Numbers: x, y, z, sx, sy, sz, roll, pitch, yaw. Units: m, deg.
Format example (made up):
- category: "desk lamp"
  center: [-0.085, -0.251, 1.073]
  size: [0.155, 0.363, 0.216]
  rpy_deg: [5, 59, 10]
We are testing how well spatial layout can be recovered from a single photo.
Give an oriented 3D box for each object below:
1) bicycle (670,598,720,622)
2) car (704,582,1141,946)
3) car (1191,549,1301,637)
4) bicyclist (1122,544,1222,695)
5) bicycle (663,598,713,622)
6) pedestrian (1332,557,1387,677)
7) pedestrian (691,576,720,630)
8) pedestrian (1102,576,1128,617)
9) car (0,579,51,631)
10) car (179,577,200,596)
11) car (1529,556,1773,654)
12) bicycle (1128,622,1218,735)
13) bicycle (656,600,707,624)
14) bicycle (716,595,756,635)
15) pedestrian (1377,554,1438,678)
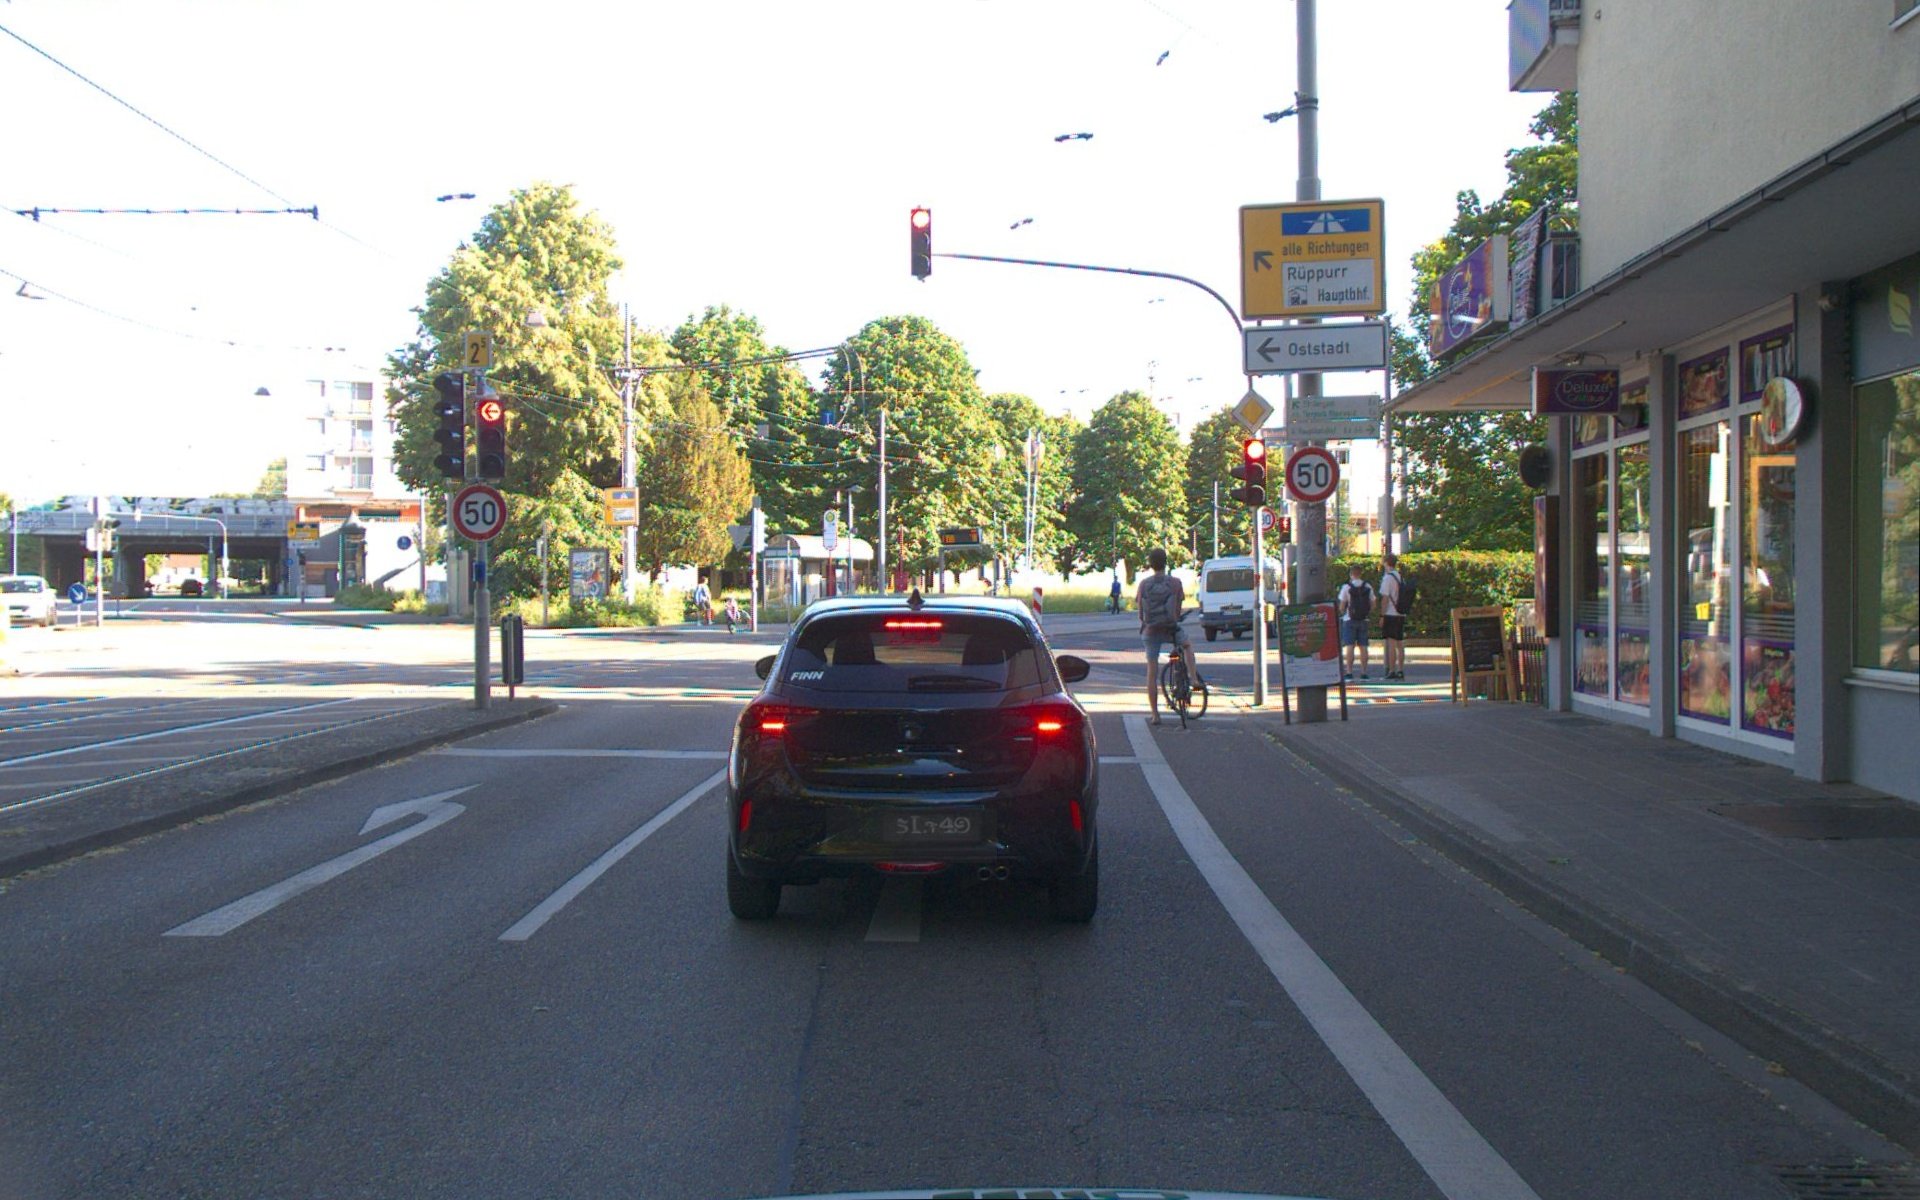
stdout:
- category: "bicycle"
  center: [-10.498, 0.408, 65.516]
  size: [1.837, 0.922, 0.660]
  rpy_deg: [0, 0, 6]
- category: "car"
  center: [-0.127, 0.643, 8.685]
  size: [1.763, 1.466, 3.940]
  rpy_deg: [0, 1, 1]
- category: "car"
  center: [8.031, -0.176, 46.135]
  size: [2.047, 2.317, 4.304]
  rpy_deg: [1, 0, 23]
- category: "bicyclist"
  center: [2.233, 0.193, 17.574]
  size: [0.823, 1.536, 1.368]
  rpy_deg: [0, 0, -3]
- category: "bicycle"
  center: [-10.631, 0.402, 64.643]
  size: [1.837, 0.922, 0.660]
  rpy_deg: [0, 0, 6]
- category: "pedestrian"
  center: [6.164, 0.252, 25.551]
  size: [0.684, 1.823, 0.617]
  rpy_deg: [0, 0, -1]
- category: "pedestrian"
  center: [-8.229, 0.099, 53.421]
  size: [0.710, 1.722, 0.701]
  rpy_deg: [0, 0, 13]
- category: "pedestrian"
  center: [7.117, -0.165, 75.877]
  size: [0.939, 1.824, 0.995]
  rpy_deg: [0, 0, 25]
- category: "car"
  center: [-31.458, 0.123, 55.108]
  size: [1.973, 1.660, 4.584]
  rpy_deg: [-1, 1, -30]
- category: "car"
  center: [-84.418, -1.462, 181.215]
  size: [1.970, 2.049, 3.965]
  rpy_deg: [1, 0, -27]
- category: "car"
  center: [13.544, 0.129, 32.624]
  size: [4.087, 1.846, 1.807]
  rpy_deg: [0, -2, 8]
- category: "bicycle"
  center: [2.227, 0.796, 17.533]
  size: [0.653, 1.078, 2.082]
  rpy_deg: [0, 1, -1]
- category: "bicycle"
  center: [-10.711, 0.458, 63.657]
  size: [1.837, 0.922, 0.660]
  rpy_deg: [0, 0, 6]
- category: "bicycle"
  center: [-6.282, 0.403, 46.518]
  size: [0.808, 1.078, 1.883]
  rpy_deg: [0, 1, 2]
- category: "pedestrian"
  center: [6.930, 0.238, 25.630]
  size: [0.691, 1.878, 0.697]
  rpy_deg: [0, 0, 39]
